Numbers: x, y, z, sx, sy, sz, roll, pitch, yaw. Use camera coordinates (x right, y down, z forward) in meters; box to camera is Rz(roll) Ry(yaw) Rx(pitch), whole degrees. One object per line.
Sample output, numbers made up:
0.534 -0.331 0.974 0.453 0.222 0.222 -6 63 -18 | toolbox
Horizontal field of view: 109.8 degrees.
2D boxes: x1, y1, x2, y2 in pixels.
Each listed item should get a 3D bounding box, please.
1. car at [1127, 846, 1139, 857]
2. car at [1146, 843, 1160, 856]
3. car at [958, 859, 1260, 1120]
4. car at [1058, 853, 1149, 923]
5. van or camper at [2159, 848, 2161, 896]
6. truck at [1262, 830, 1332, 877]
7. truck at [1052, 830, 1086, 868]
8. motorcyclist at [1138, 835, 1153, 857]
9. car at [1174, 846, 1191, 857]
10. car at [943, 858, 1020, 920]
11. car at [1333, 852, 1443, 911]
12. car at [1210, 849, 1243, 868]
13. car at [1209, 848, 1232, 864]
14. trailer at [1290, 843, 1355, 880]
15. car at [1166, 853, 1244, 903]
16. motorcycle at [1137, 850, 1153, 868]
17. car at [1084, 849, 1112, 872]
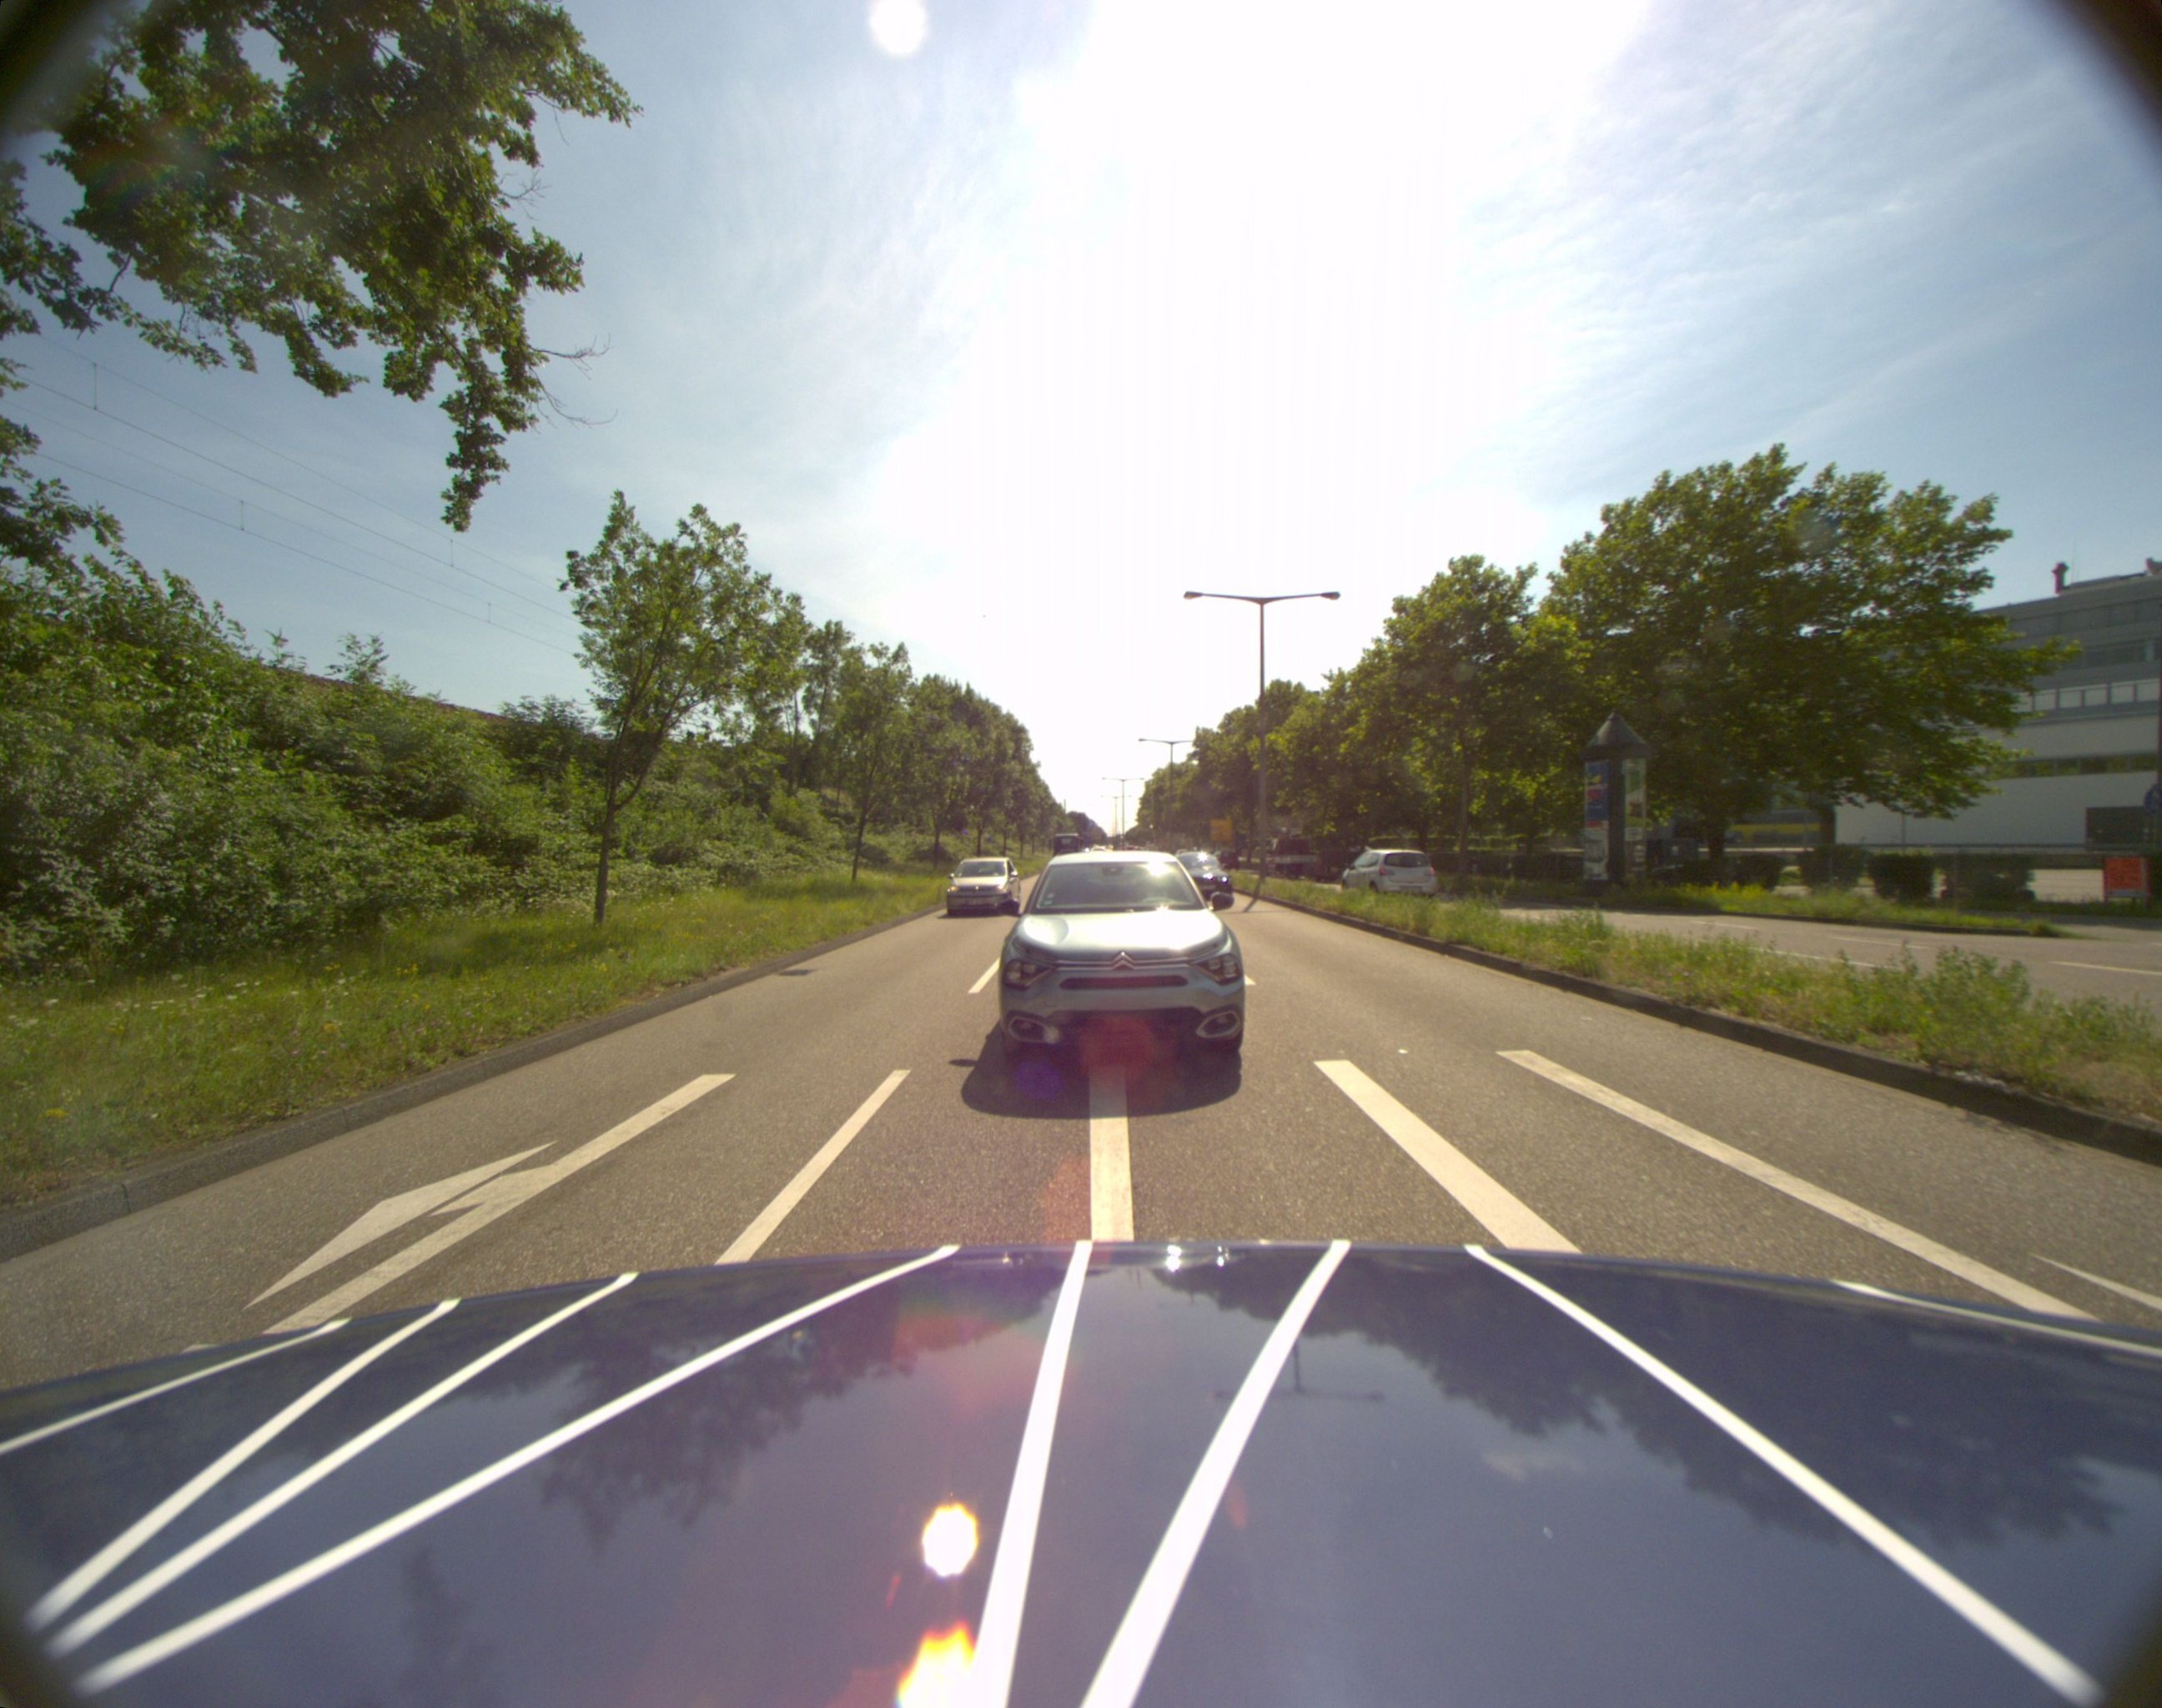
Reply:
9.247 -0.471 135.834 1.998 2.002 4.000 -1 1 1 | car
11.828 -0.732 124.695 1.998 2.002 4.000 -1 1 1 | car
0.255 0.853 7.021 1.826 1.521 4.752 -1 0 2 | car
0.529 0.752 18.772 1.998 1.492 4.000 -1 0 1 | car
39.508 0.624 25.034 2.004 1.682 4.500 -1 1 -37 | van or camper
12.021 -0.053 42.894 2.144 2.461 7.129 -1 1 2 | truck
-1.008 -0.451 70.167 2.775 3.248 7.482 0 1 1 | truck
4.955 -0.638 58.817 1.066 1.689 1.042 -1 1 0 | motorcyclist
13.816 -0.310 103.536 1.844 1.414 4.221 1 0 0 | car
-2.598 0.879 20.599 1.705 1.429 3.677 -2 1 -2 | car
8.583 0.697 21.588 1.653 1.505 3.735 -1 0 1 | car
11.195 0.372 58.744 1.852 1.426 3.767 0 0 0 | car
13.575 0.172 74.322 1.843 1.414 3.896 1 1 5 | car
11.789 0.344 37.332 2.066 1.706 3.991 -1 1 3 | trailer
3.954 0.696 23.678 1.728 1.354 4.072 -2 1 18 | car
4.946 0.371 58.616 1.052 1.343 2.331 -1 1 0 | motorcycle
1.214 0.415 52.088 1.826 1.521 4.547 -1 1 2 | car
